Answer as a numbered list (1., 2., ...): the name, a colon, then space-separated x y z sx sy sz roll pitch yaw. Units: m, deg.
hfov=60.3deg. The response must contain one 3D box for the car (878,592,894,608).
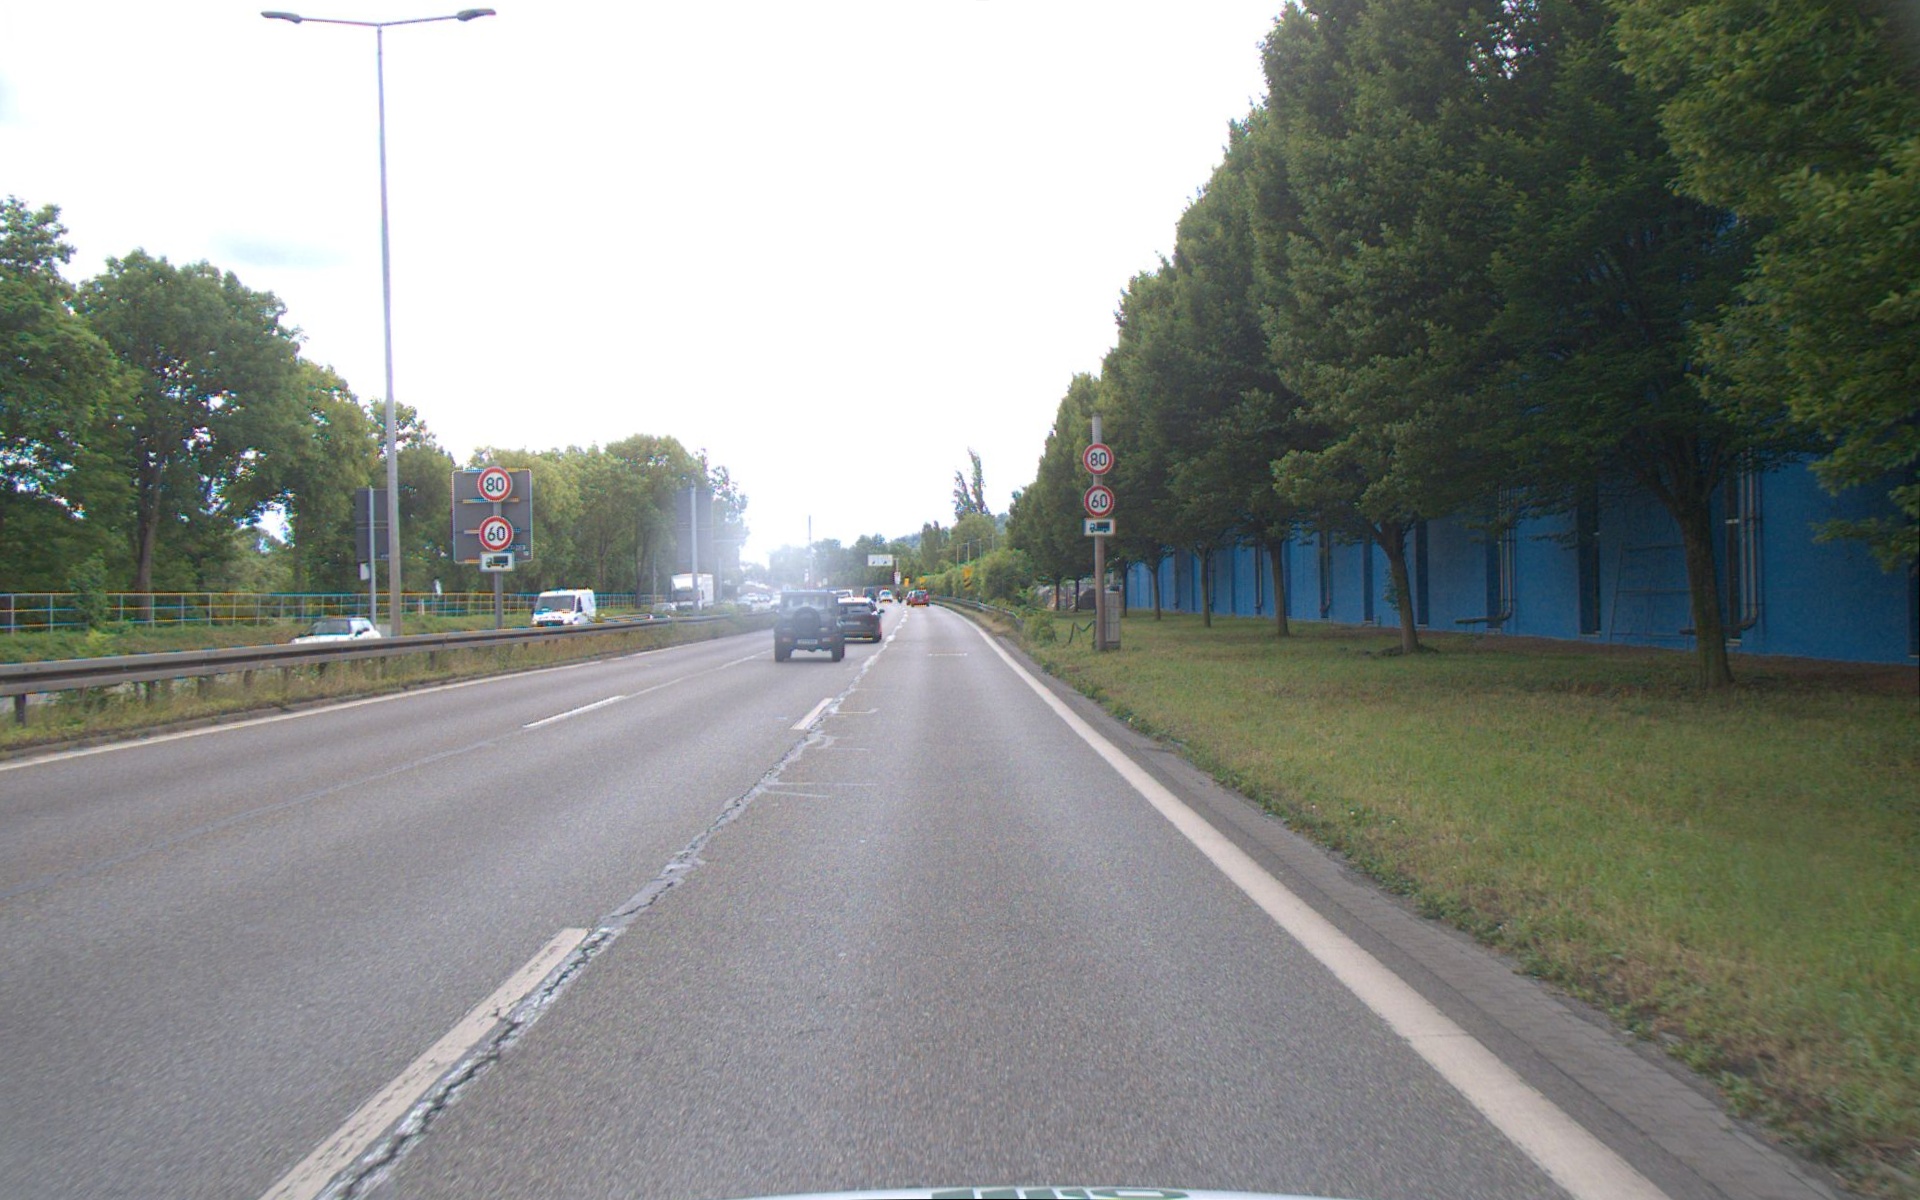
1. car: -9.413 -0.031 210.929 1.973 1.968 4.898 -2 0 -2

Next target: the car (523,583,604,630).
1. car: -17.850 0.272 74.705 2.180 1.982 5.475 -2 0 1

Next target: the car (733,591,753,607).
1. car: -24.537 -0.110 187.212 1.691 1.633 4.041 -4 0 -1

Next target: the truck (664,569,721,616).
1. truck: -21.811 -0.572 135.548 2.829 3.641 9.588 -2 0 1

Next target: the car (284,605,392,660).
1. car: -17.843 0.894 47.604 1.625 1.423 3.988 -1 1 -1

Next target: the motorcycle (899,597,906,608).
1. motorcycle: -6.784 0.283 195.544 0.775 1.240 2.329 -1 1 -1

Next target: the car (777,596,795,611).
1. car: -20.785 0.392 197.590 1.663 1.633 4.537 -4 0 -1

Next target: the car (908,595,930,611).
1. car: -3.876 0.288 156.446 1.935 1.448 4.898 -2 0 -2

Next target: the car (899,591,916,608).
1. car: -5.600 -0.038 176.911 1.663 1.772 4.393 -2 0 0

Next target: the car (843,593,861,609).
1. car: -12.665 0.087 193.971 1.663 1.772 4.393 -3 0 0

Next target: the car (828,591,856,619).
1. car: -7.927 0.340 111.490 1.663 1.772 3.998 -2 0 -2

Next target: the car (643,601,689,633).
1. car: -17.289 0.984 97.510 1.840 1.755 4.147 -1 1 1

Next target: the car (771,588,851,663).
1. car: -3.649 0.593 41.143 1.663 1.715 3.999 1 1 -1

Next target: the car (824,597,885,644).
1. car: -3.480 0.644 55.329 1.807 1.448 4.899 -1 0 -1

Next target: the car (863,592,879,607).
1. car: -12.200 -0.029 227.015 1.974 1.968 4.895 -2 0 -5
